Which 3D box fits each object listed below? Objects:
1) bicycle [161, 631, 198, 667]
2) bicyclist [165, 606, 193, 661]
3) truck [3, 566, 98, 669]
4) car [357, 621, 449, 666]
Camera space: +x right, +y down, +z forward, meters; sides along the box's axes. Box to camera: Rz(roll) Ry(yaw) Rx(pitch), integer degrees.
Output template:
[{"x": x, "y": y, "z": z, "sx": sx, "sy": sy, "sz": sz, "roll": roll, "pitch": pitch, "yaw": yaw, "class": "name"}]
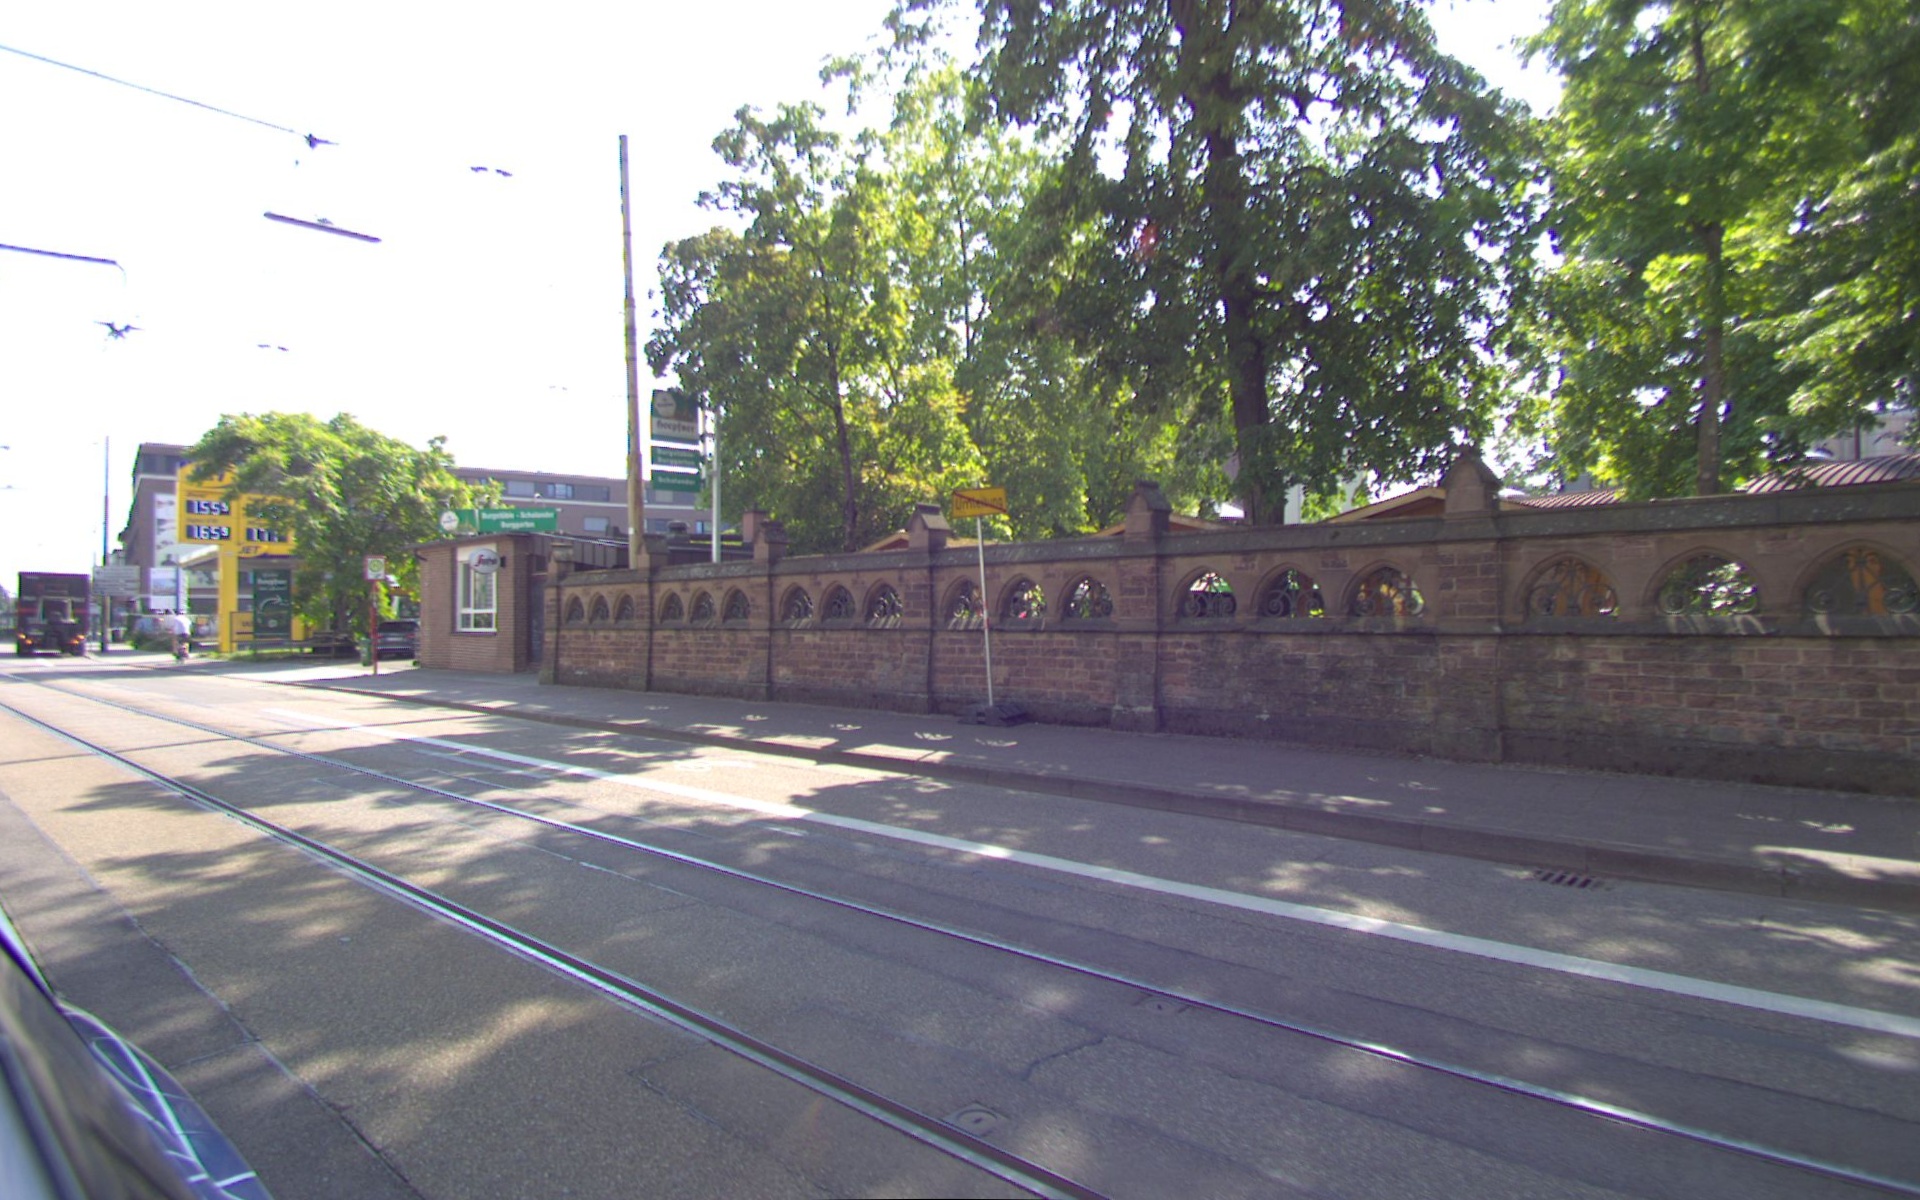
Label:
[{"x": -28.287, "y": 1.769, "z": 36.704, "sx": 0.774, "sy": 1.250, "sz": 2.040, "roll": 0, "pitch": -3, "yaw": -30, "class": "bicycle"}, {"x": -28.299, "y": 1.209, "z": 36.682, "sx": 0.632, "sy": 1.944, "sz": 1.179, "roll": 0, "pitch": -1, "yaw": -29, "class": "bicyclist"}, {"x": -46.360, "y": 0.897, "z": 51.525, "sx": 3.127, "sy": 4.487, "sz": 16.858, "roll": 0, "pitch": -1, "yaw": -43, "class": "truck"}, {"x": -20.079, "y": 1.530, "z": 36.665, "sx": 1.905, "sy": 1.472, "sz": 4.540, "roll": 0, "pitch": -1, "yaw": -15, "class": "car"}]
